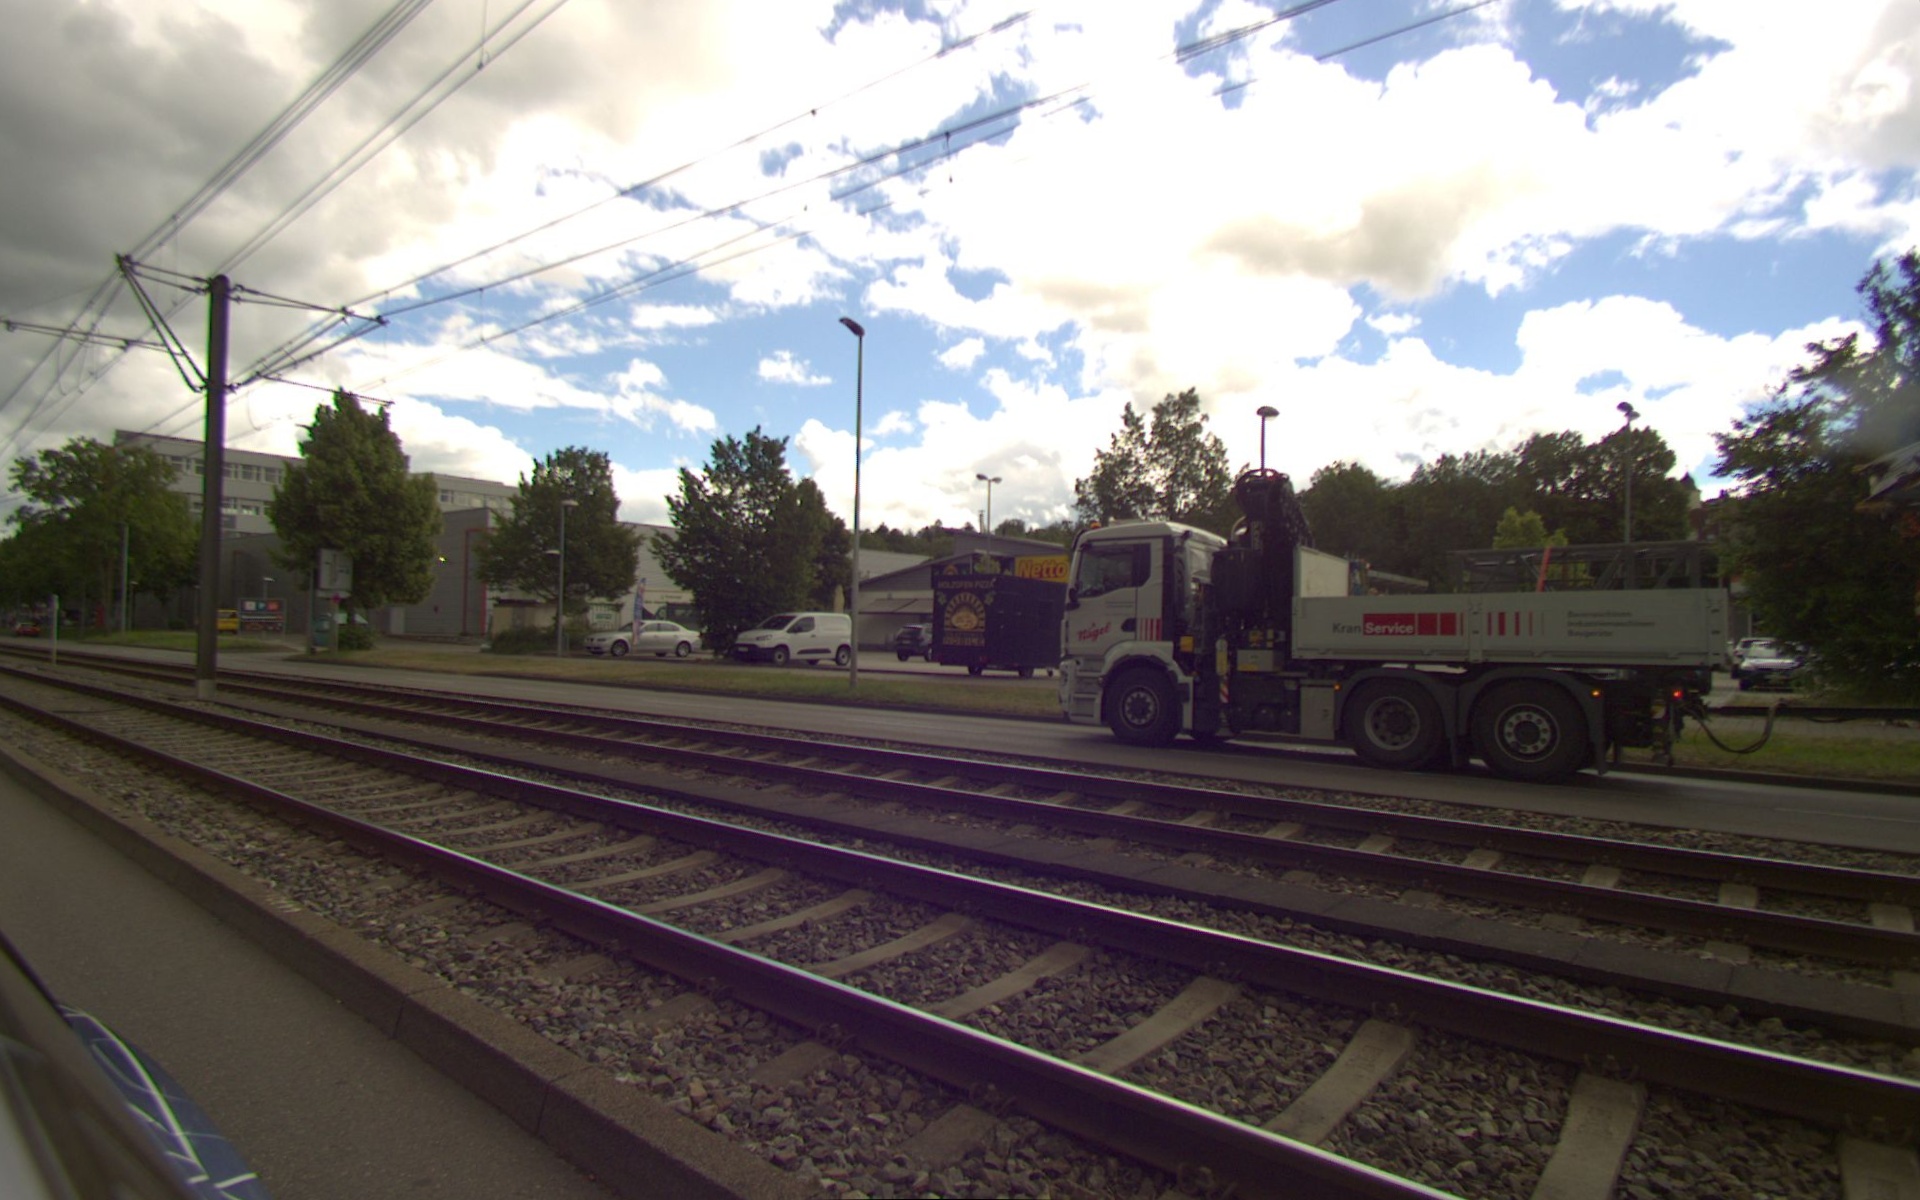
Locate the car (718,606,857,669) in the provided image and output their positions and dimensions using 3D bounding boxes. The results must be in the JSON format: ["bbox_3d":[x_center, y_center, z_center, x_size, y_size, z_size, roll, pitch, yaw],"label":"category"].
[{"bbox_3d":[-5.784,1.214,34.242,2.000,1.933,4.298,-1,0,43],"label":"car"}]

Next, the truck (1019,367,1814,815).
[{"bbox_3d":[5.102,0.024,12.849,8.621,3.997,2.863,-1,-3,39],"label":"truck"}]

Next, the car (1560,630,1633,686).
[{"bbox_3d":[21.326,1.871,33.836,1.721,1.635,3.693,-1,0,37],"label":"car"}]

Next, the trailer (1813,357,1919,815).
[{"bbox_3d":[14.055,-0.135,5.425,14.415,3.927,2.644,-1,-3,40],"label":"trailer"}]

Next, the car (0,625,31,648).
[{"bbox_3d":[-90.224,3.468,96.410,3.995,2.029,1.974,-1,0,38],"label":"car"}]

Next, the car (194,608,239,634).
[{"bbox_3d":[-60.093,1.689,81.809,3.996,2.029,1.974,-1,-3,39],"label":"car"}]

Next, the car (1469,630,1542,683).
[{"bbox_3d":[19.392,1.962,35.912,1.721,1.635,3.693,-1,0,37],"label":"car"}]

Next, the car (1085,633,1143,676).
[{"bbox_3d":[5.853,2.043,38.886,1.975,1.417,3.993,-1,0,6],"label":"car"}]

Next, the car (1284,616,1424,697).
[{"bbox_3d":[8.858,1.172,22.524,1.792,1.518,4.429,-1,0,37],"label":"car"}]

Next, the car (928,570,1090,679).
[{"bbox_3d":[1.458,0.751,28.299,2.287,2.769,4.425,-1,-3,40],"label":"car"}]

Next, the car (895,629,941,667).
[{"bbox_3d":[-1.848,2.121,45.490,1.700,1.635,3.736,-1,-2,3],"label":"car"}]

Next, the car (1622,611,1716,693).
[{"bbox_3d":[19.540,1.339,27.827,1.949,2.029,3.693,-1,0,38],"label":"car"}]

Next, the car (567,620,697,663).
[{"bbox_3d":[-13.035,1.620,40.405,2.000,1.504,4.550,-1,0,43],"label":"car"}]

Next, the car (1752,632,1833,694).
[{"bbox_3d":[25.025,1.836,30.521,1.721,1.635,3.693,-1,0,37],"label":"car"}]
